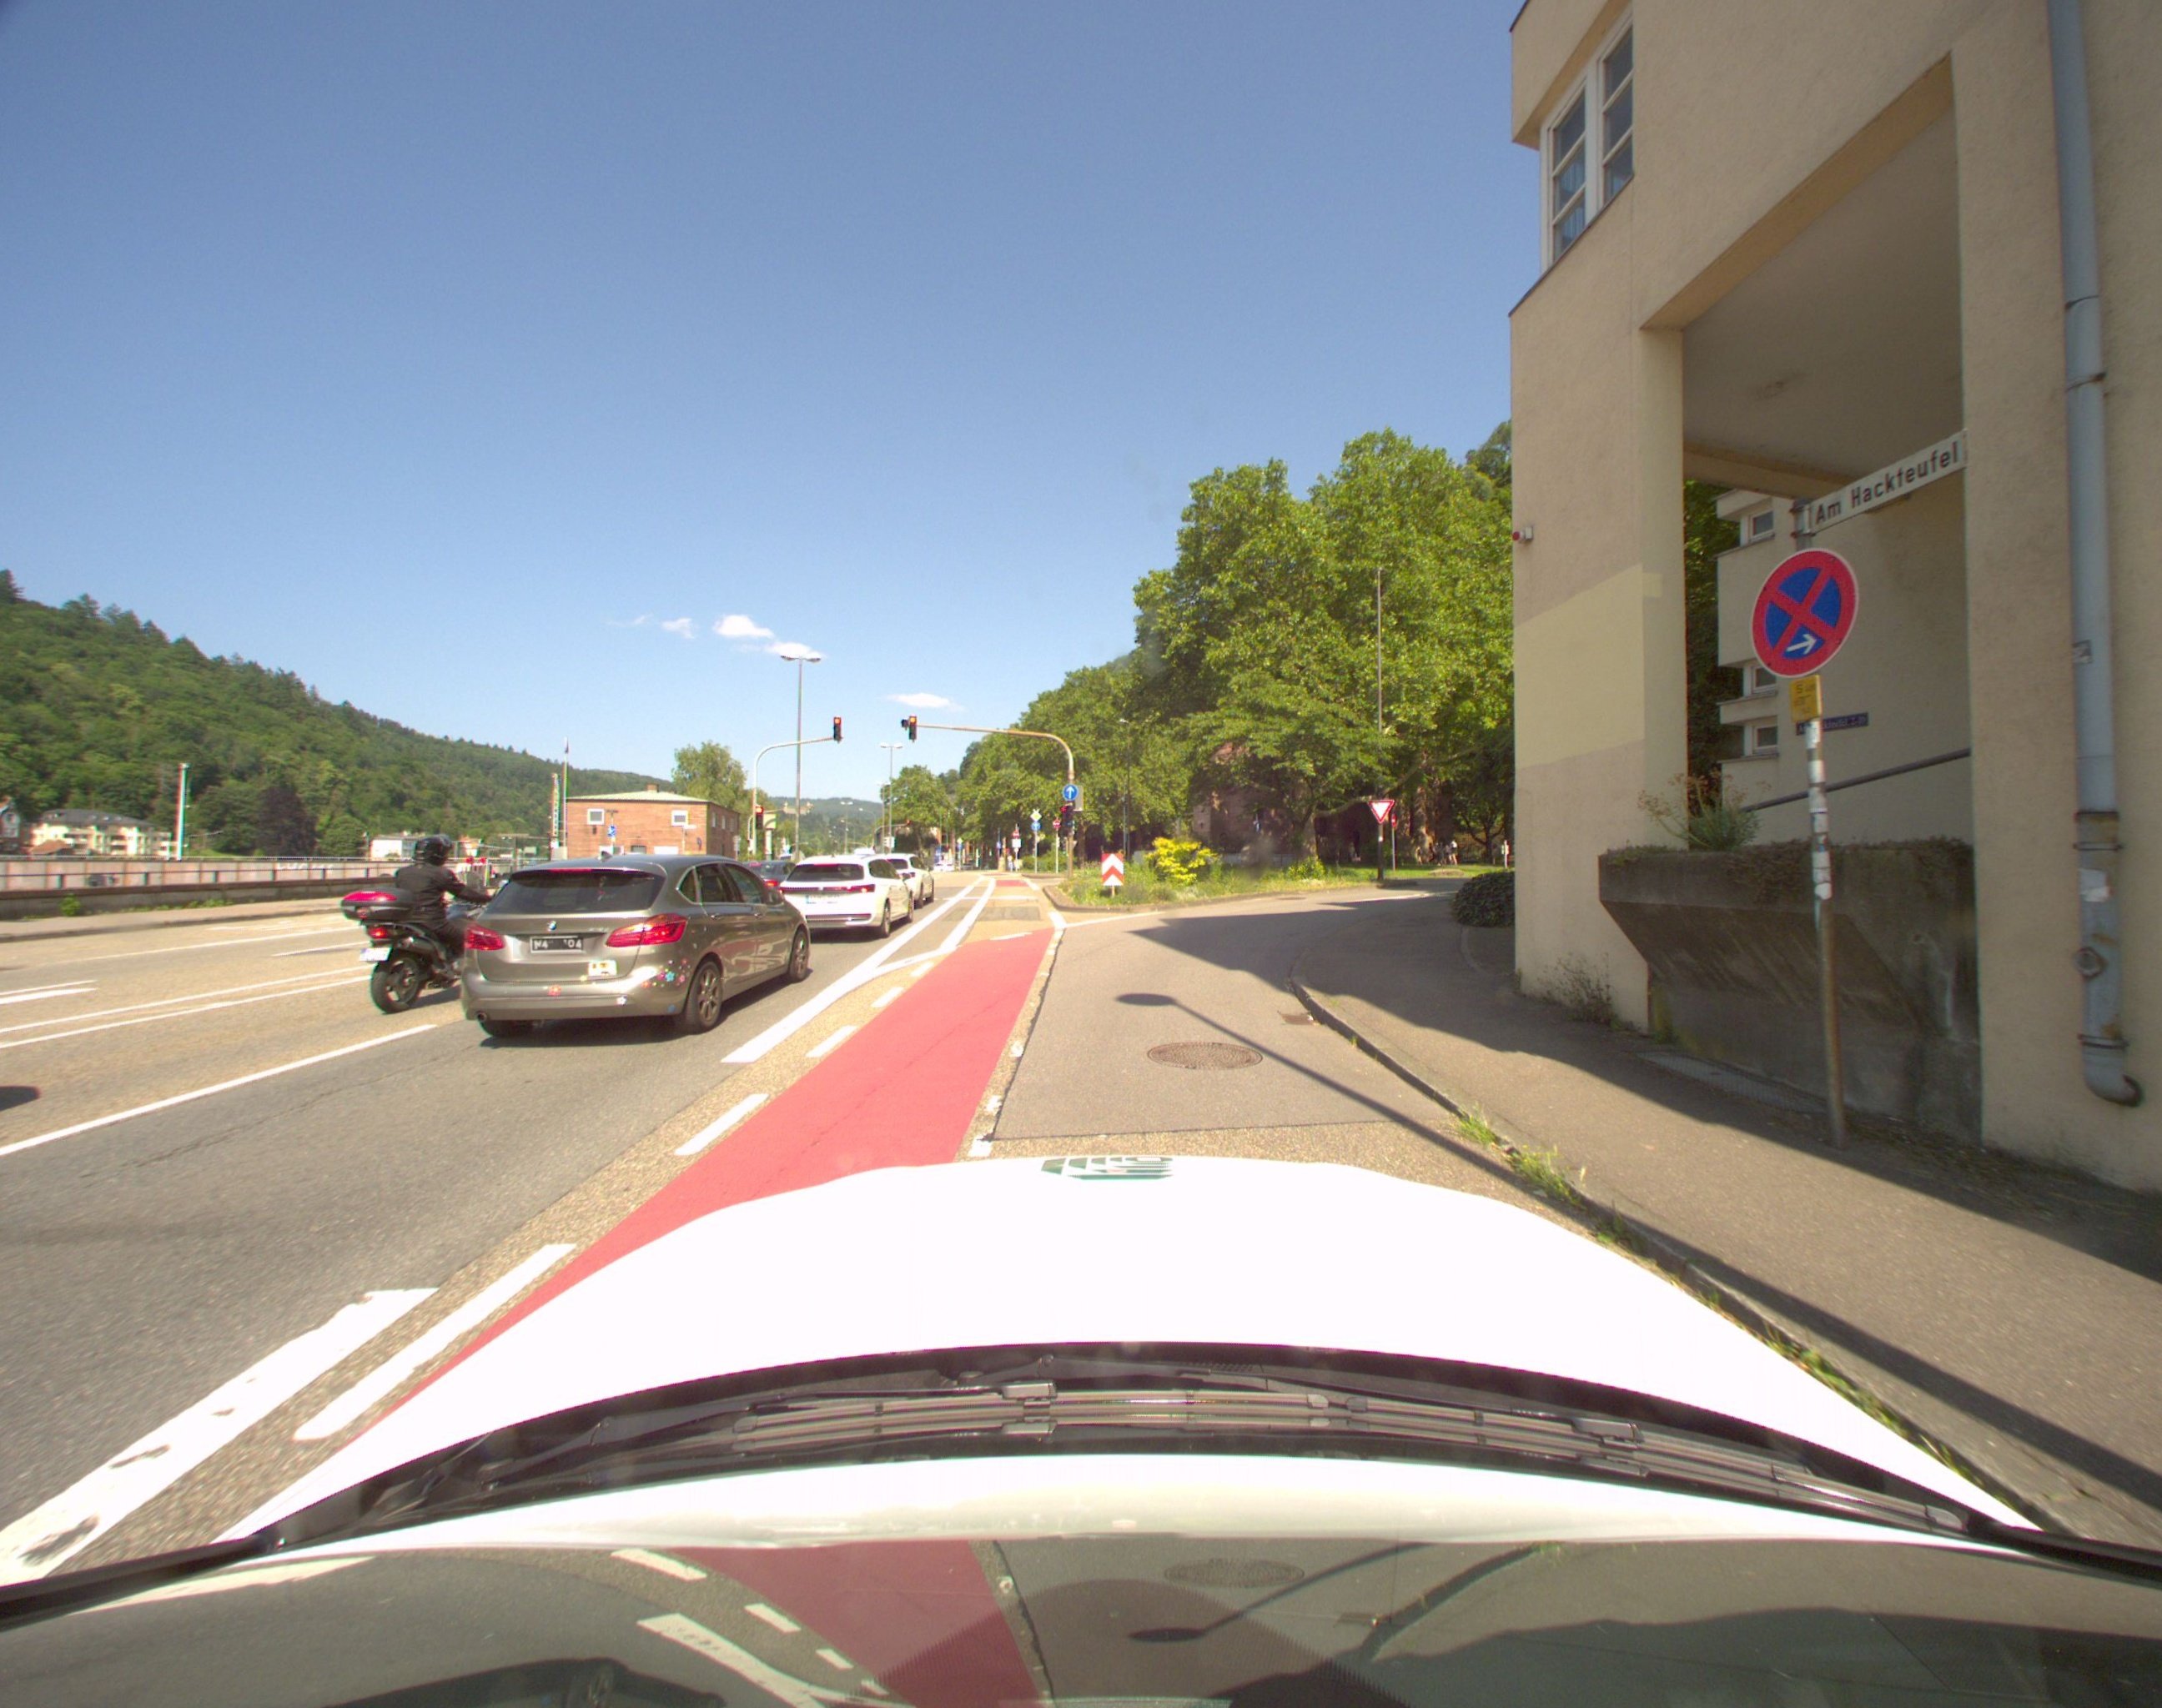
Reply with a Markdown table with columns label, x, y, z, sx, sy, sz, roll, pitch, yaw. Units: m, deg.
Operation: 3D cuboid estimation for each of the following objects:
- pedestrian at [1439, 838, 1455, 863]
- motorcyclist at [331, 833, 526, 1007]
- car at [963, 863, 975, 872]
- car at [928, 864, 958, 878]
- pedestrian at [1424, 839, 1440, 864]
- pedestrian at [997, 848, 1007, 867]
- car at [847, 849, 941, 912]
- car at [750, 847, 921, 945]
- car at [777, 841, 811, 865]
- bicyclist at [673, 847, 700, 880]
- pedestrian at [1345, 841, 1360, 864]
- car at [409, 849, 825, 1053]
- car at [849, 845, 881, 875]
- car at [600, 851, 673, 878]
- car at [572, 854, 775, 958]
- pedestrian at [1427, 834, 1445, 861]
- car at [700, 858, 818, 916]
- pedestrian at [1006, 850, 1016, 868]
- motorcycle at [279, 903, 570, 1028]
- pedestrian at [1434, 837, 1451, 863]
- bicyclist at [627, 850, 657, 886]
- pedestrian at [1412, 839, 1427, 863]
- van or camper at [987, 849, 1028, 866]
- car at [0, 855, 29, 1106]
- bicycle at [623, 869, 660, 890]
| label | x | y | z | sx | sy | sz | roll | pitch | yaw |
| --- | --- | --- | --- | --- | --- | --- | --- | --- | --- |
| pedestrian | 26.041 | -0.245 | 57.968 | 0.792 | 1.756 | 0.663 | 1 | 0 | -9 |
| motorcyclist | -6.805 | 0.643 | 8.586 | 1.073 | 1.684 | 1.155 | -1 | 1 | -2 |
| car | -18.763 | 2.253 | 136.191 | 1.731 | 1.514 | 3.610 | -2 | 0 | -10 |
| car | -19.894 | 2.433 | 117.126 | 3.948 | 2.013 | 1.955 | -1 | 0 | 35 |
| pedestrian | 25.467 | -0.168 | 59.121 | 0.792 | 1.756 | 0.663 | 1 | 0 | -9 |
| pedestrian | -7.506 | 0.350 | 77.235 | 0.758 | 1.718 | 0.796 | -2 | 0 | 4 |
| car | -5.117 | 0.670 | 22.911 | 1.782 | 1.532 | 4.730 | -2 | 0 | -4 |
| car | -4.472 | 0.658 | 15.718 | 1.989 | 1.533 | 4.853 | -2 | 1 | -3 |
| car | -26.126 | -0.090 | 74.239 | 2.216 | 2.078 | 5.022 | -2 | 1 | -13 |
| bicyclist | -24.345 | 0.573 | 50.266 | 1.213 | 2.013 | 1.114 | -1 | 0 | -12 |
| pedestrian | 21.334 | -0.132 | 63.990 | 0.792 | 1.782 | 0.873 | -2 | 0 | -9 |
| car | -4.203 | 0.729 | 8.359 | 1.883 | 1.521 | 4.302 | -1 | 0 | -2 |
| car | -20.145 | 0.546 | 75.815 | 2.390 | 2.576 | 6.017 | -2 | 0 | -18 |
| car | -35.259 | 0.824 | 64.682 | 4.645 | 2.013 | 1.975 | -2 | 1 | -45 |
| car | -7.192 | 0.820 | 14.900 | 1.863 | 1.562 | 3.995 | -1 | 1 | -4 |
| pedestrian | 23.797 | -0.440 | 54.590 | 0.792 | 1.756 | 0.720 | 1 | 0 | -9 |
| car | -8.743 | 0.831 | 22.494 | 1.863 | 1.358 | 3.995 | -1 | 1 | -4 |
| pedestrian | -6.655 | 0.462 | 77.085 | 0.758 | 1.708 | 0.879 | -2 | 0 | 4 |
| motorcycle | -6.798 | 1.092 | 8.725 | 1.035 | 0.919 | 2.603 | -1 | 1 | -2 |
| pedestrian | 24.859 | -0.298 | 56.006 | 0.792 | 1.756 | 0.663 | 1 | 0 | -9 |
| bicyclist | -25.774 | 0.801 | 47.809 | 1.213 | 2.013 | 1.114 | -2 | 0 | -12 |
| pedestrian | 24.511 | -0.213 | 58.953 | 0.792 | 1.756 | 0.663 | 1 | 0 | -9 |
| van or camper | -8.892 | 0.422 | 99.082 | 4.509 | 1.902 | 2.008 | -2 | 0 | 14 |
| car | -7.377 | 0.790 | 2.922 | 1.865 | 1.513 | 4.146 | -1 | 0 | -3 |
| bicycle | -25.749 | 1.475 | 47.745 | 1.213 | 1.090 | 2.587 | -2 | 1 | -12 |
